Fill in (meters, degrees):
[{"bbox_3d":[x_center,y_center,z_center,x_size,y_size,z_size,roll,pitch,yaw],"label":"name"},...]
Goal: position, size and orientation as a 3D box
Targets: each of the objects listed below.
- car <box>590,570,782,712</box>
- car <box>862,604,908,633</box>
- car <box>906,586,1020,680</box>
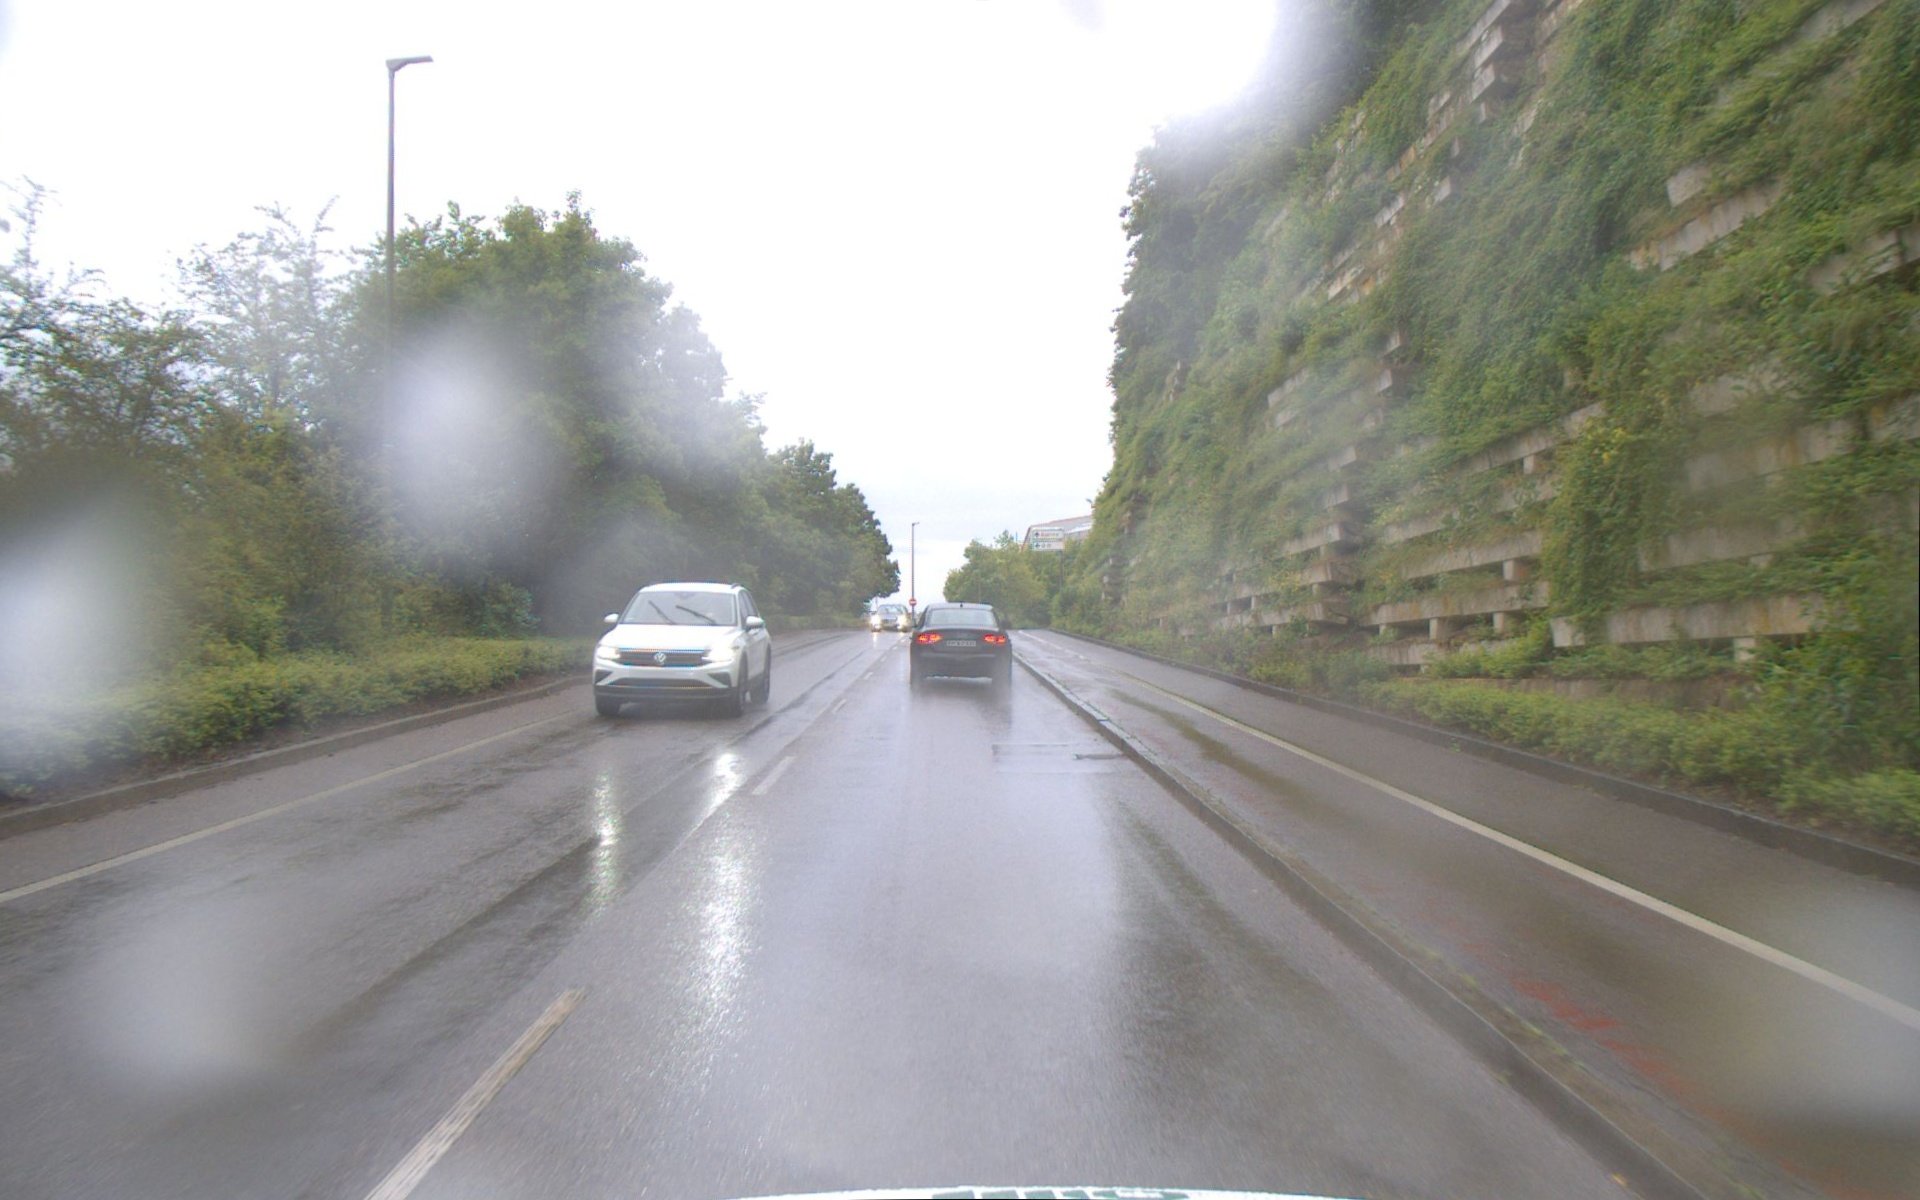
[{"bbox_3d":[-3.423,0.473,21.401,1.786,1.643,4.093,1,0,0],"label":"car"},{"bbox_3d":[-3.728,0.917,82.873,1.952,1.388,4.252,1,0,2],"label":"car"},{"bbox_3d":[0.110,0.525,29.159,1.853,1.518,4.208,0,0,2],"label":"car"}]
